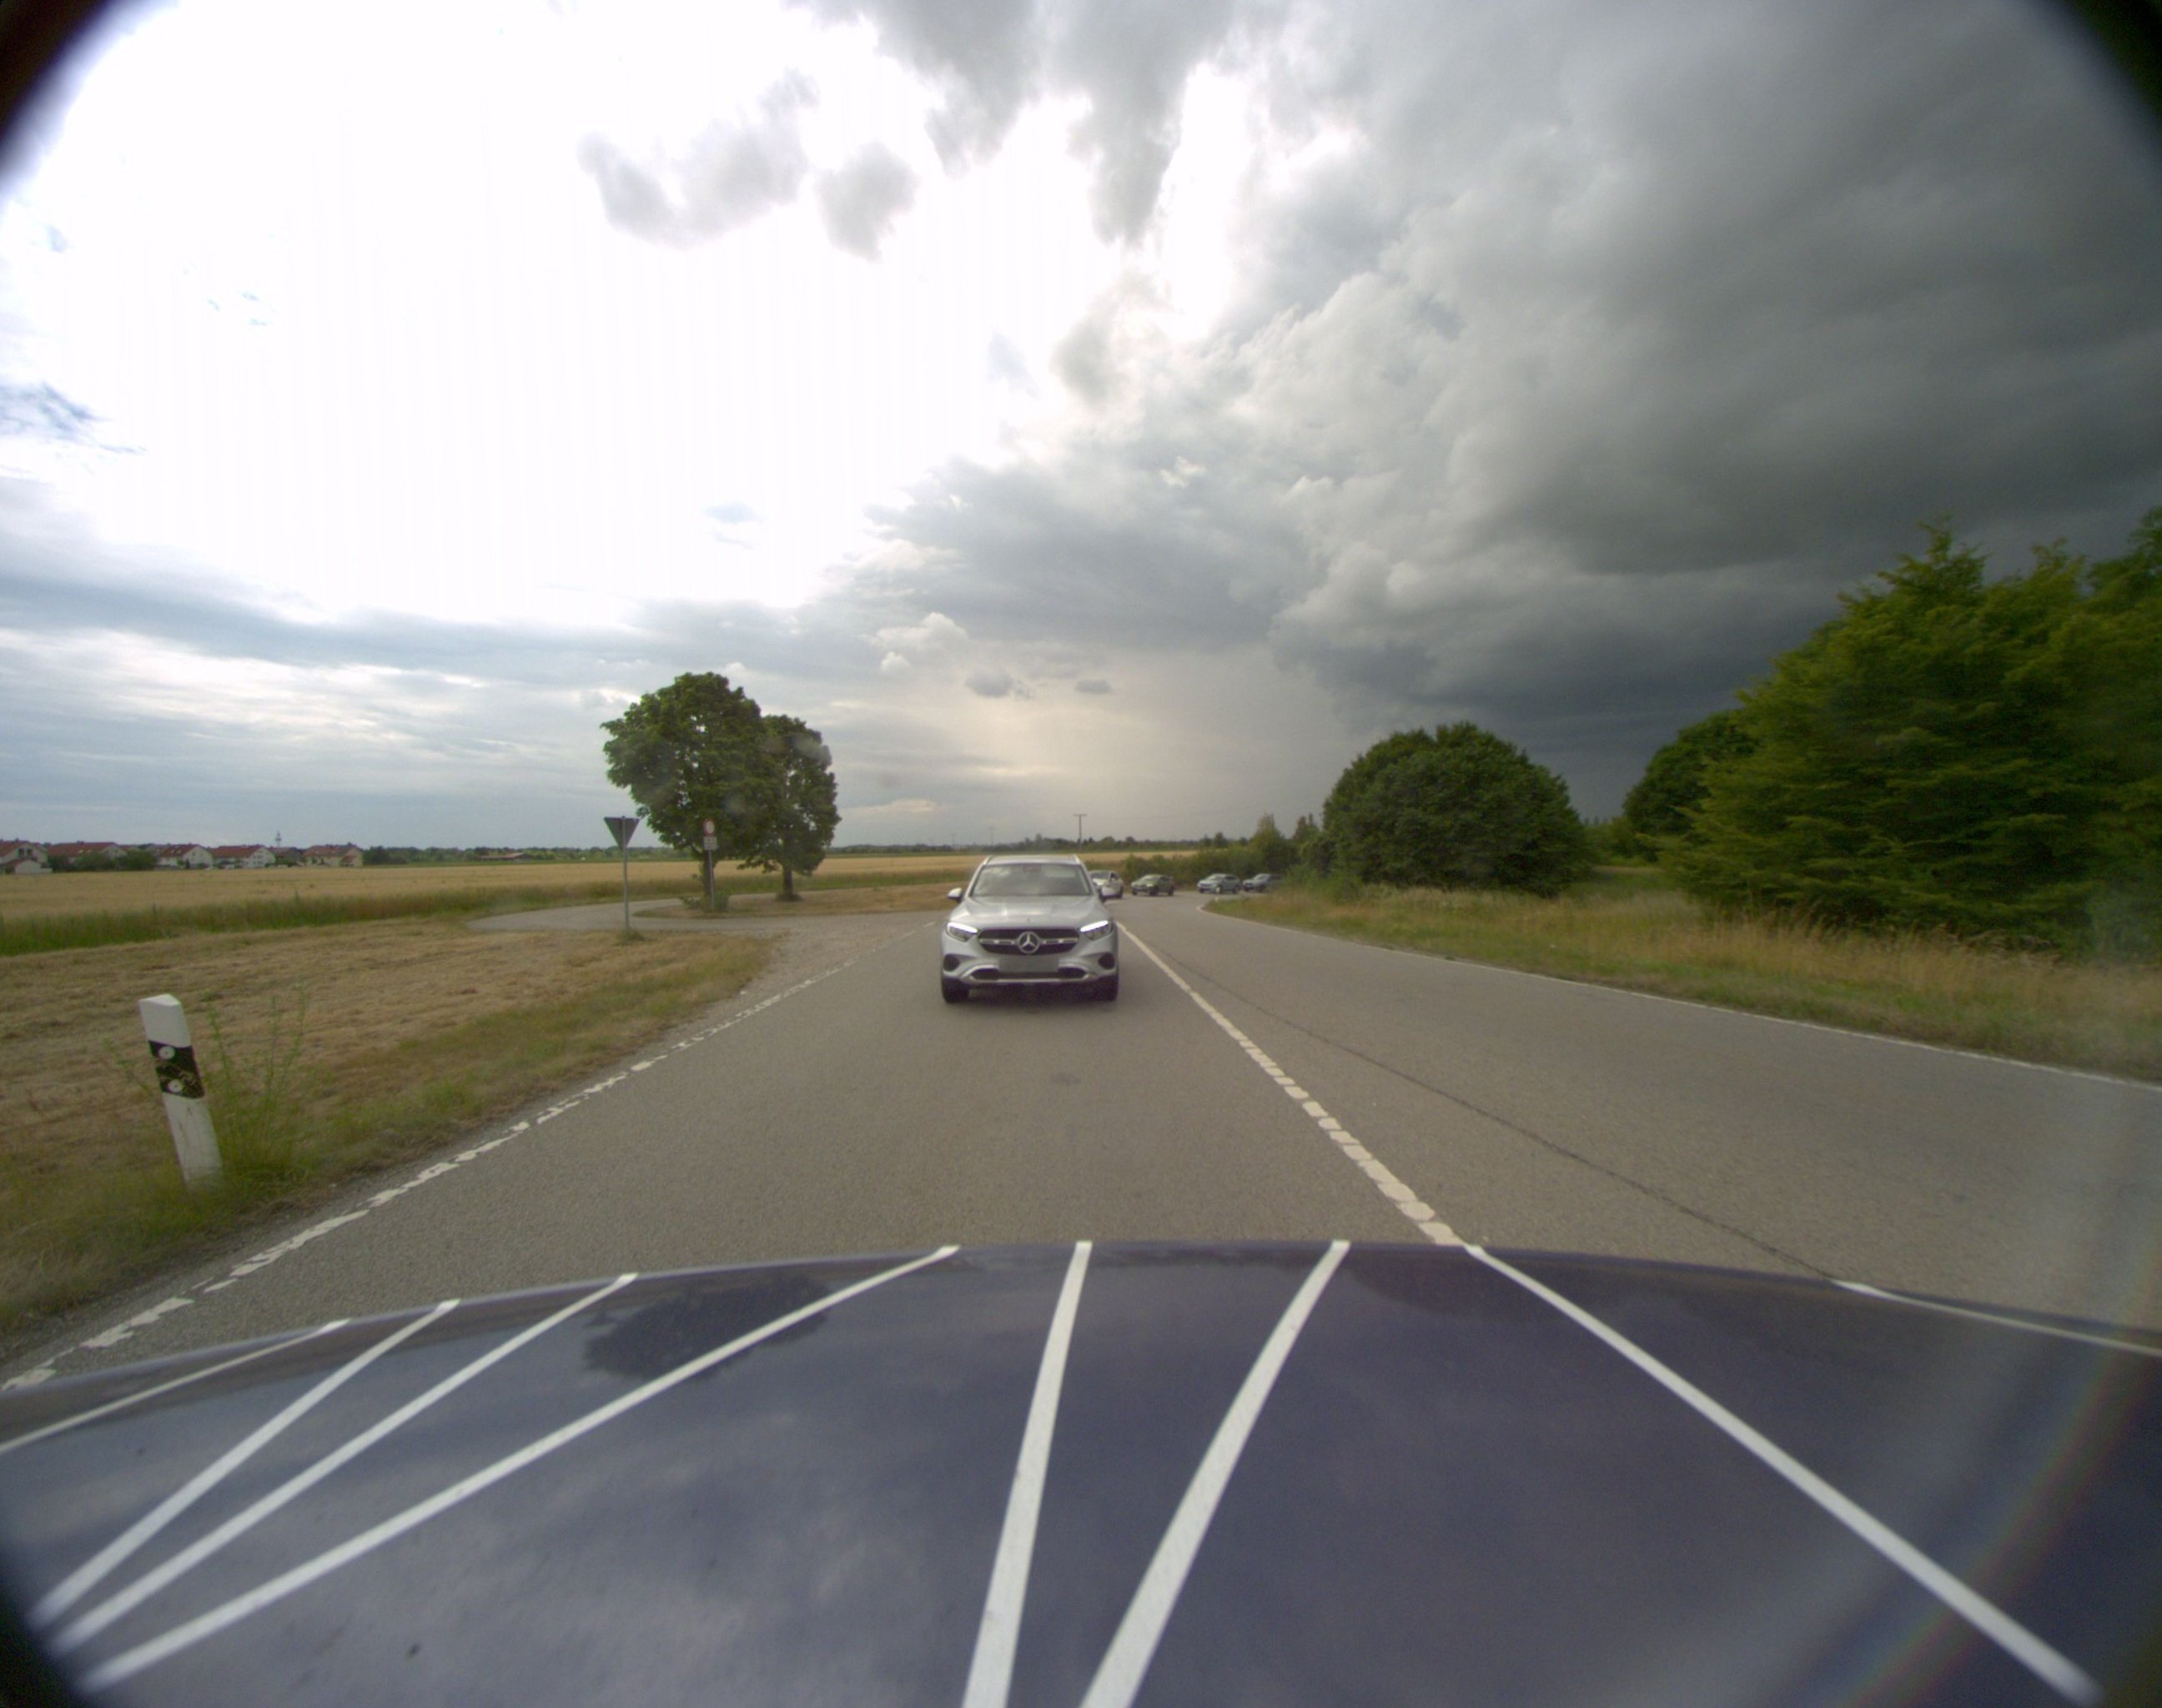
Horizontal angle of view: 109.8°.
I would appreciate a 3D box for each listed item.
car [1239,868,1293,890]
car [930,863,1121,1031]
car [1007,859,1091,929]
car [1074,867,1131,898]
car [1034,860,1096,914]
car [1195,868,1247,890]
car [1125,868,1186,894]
[{"bbox_3d":[17.029,2.265,69.680,5.219,1.710,1.994,0,2,-38],"label":"car"},{"bbox_3d":[-0.579,0.923,9.579,1.836,1.577,4.449,0,0,-1],"label":"car"},{"bbox_3d":[-0.744,1.015,21.084,1.998,1.709,5.210,0,-1,1],"label":"car"},{"bbox_3d":[1.400,1.700,46.264,1.995,1.709,5.217,2,0,18],"label":"car"},{"bbox_3d":[-0.503,1.187,28.082,1.998,1.709,5.210,2,-2,1],"label":"car"},{"bbox_3d":[11.927,2.157,64.365,1.994,1.709,5.221,2,0,39],"label":"car"},{"bbox_3d":[5.514,1.936,55.331,1.994,1.709,5.221,2,0,36],"label":"car"}]
